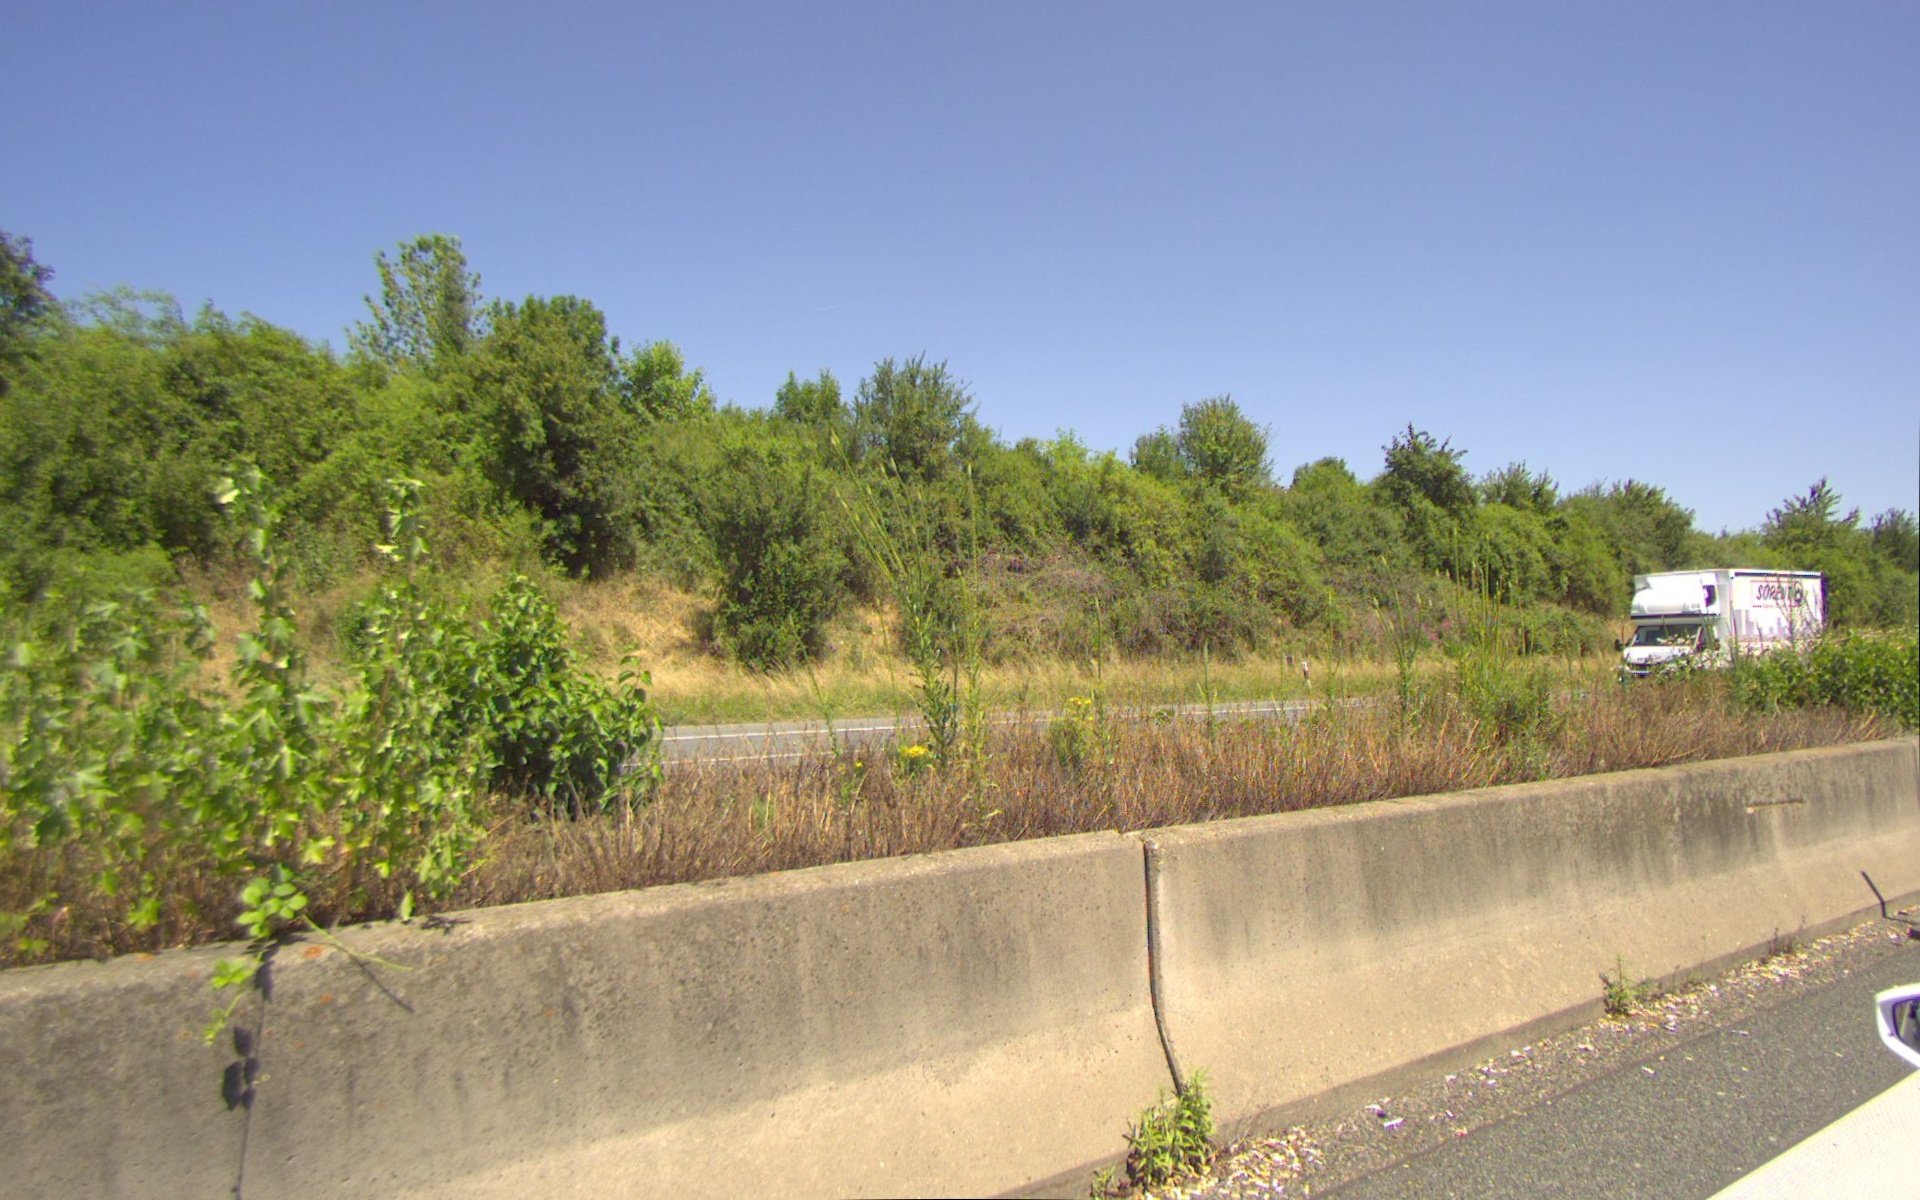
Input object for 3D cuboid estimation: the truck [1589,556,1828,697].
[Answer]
[{"bbox_3d":[23.619,0.939,31.520,8.927,3.938,2.749,2,-4,-31],"label":"truck"}]
